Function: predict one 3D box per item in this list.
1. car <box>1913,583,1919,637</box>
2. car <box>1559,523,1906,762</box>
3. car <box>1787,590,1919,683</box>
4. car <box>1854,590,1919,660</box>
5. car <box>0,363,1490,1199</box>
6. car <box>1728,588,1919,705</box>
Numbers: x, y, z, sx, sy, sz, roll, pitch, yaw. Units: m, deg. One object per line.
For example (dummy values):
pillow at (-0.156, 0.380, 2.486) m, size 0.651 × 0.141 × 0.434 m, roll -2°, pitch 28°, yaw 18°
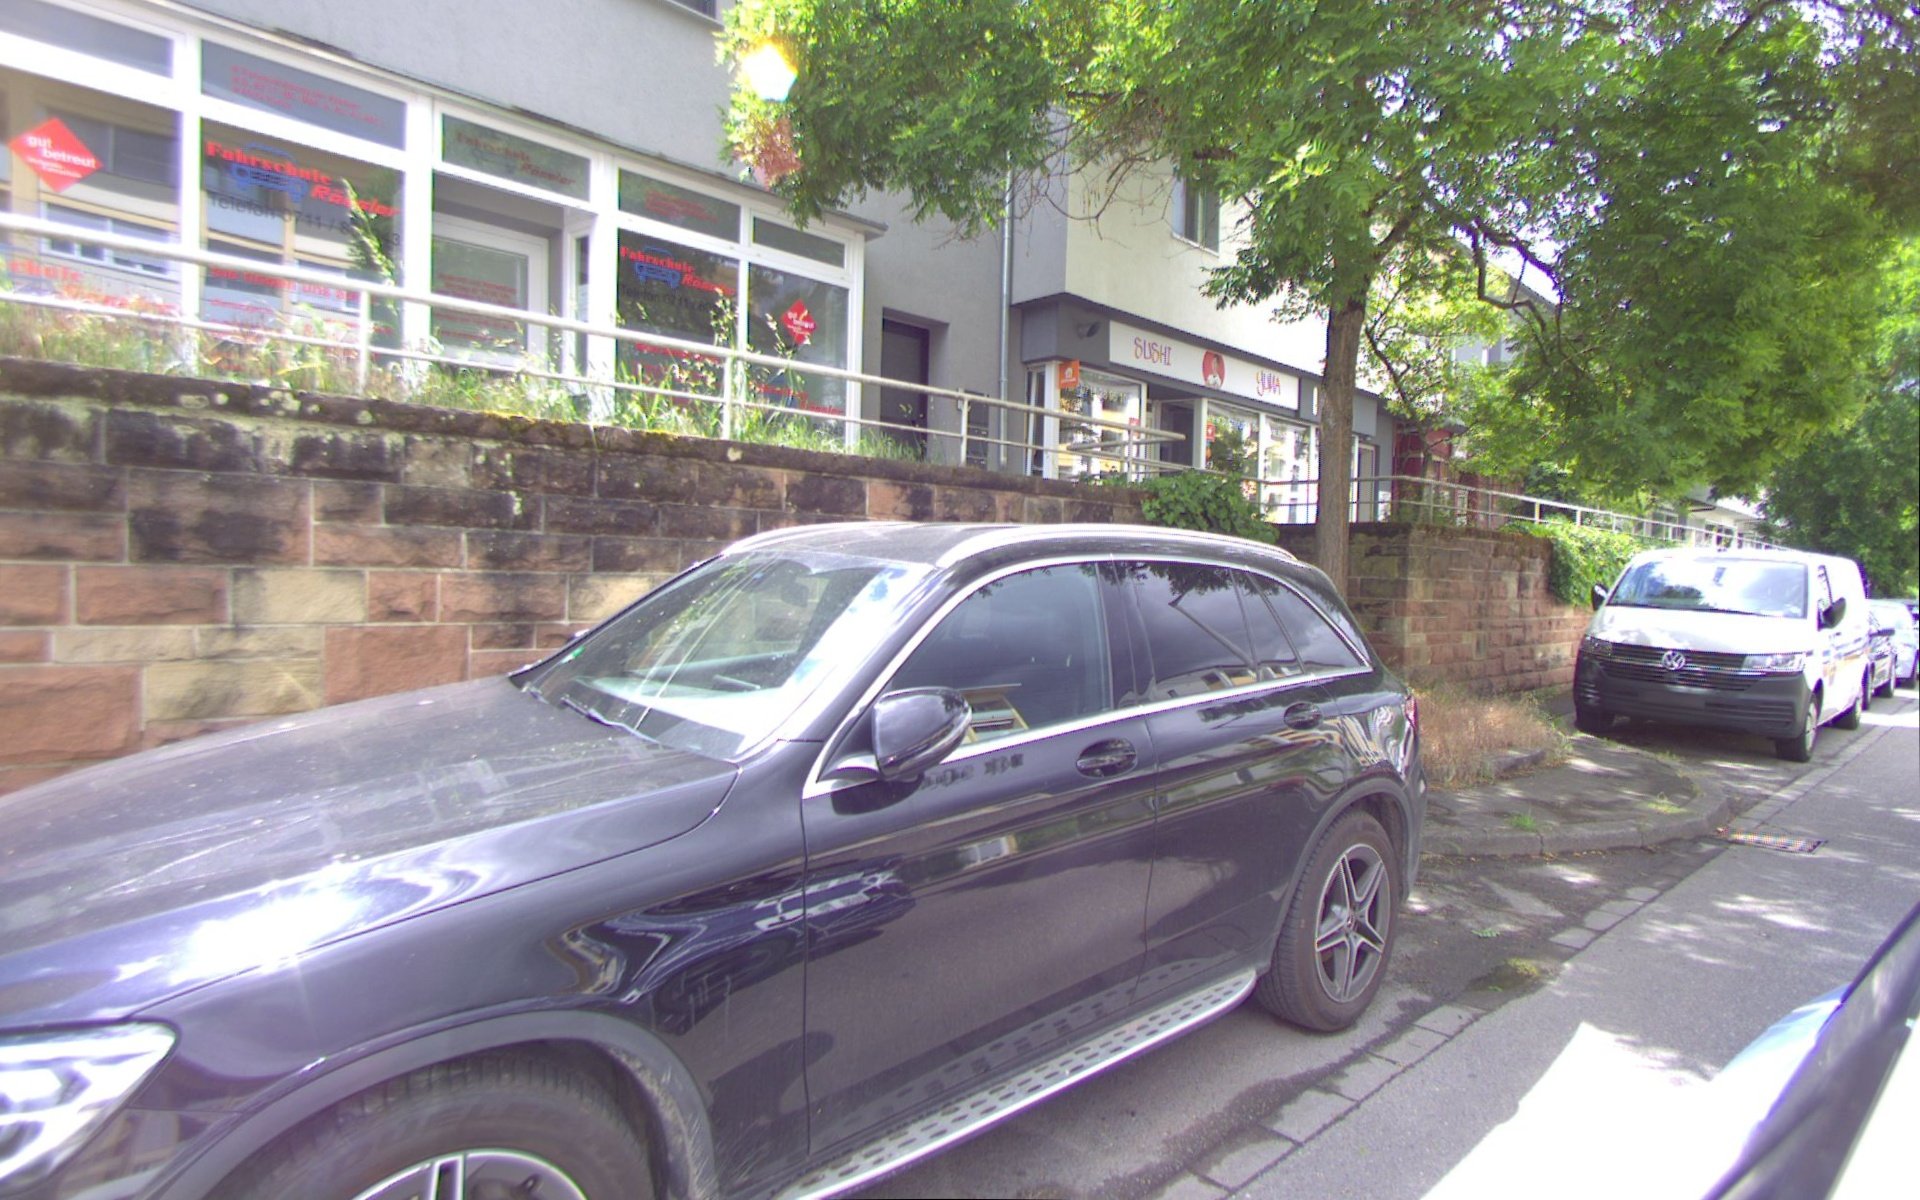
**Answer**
car at (32.468, 0.299, 32.994) m, size 4.078 × 1.674 × 1.816 m, roll -1°, pitch 1°, yaw -44°
car at (8.391, 0.314, 10.794) m, size 4.925 × 1.994 × 1.977 m, roll 0°, pitch 2°, yaw -41°
car at (16.240, 0.563, 18.071) m, size 4.076 × 1.446 × 1.782 m, roll 0°, pitch 2°, yaw -44°
car at (21.507, 0.526, 22.601) m, size 4.075 × 1.446 × 1.783 m, roll 0°, pitch 2°, yaw -41°
car at (-0.262, 0.492, 3.040) m, size 4.371 × 1.637 × 1.793 m, roll 0°, pitch 4°, yaw -42°
car at (12.508, 0.573, 14.579) m, size 3.669 × 1.446 × 1.577 m, roll 0°, pitch 2°, yaw -41°
